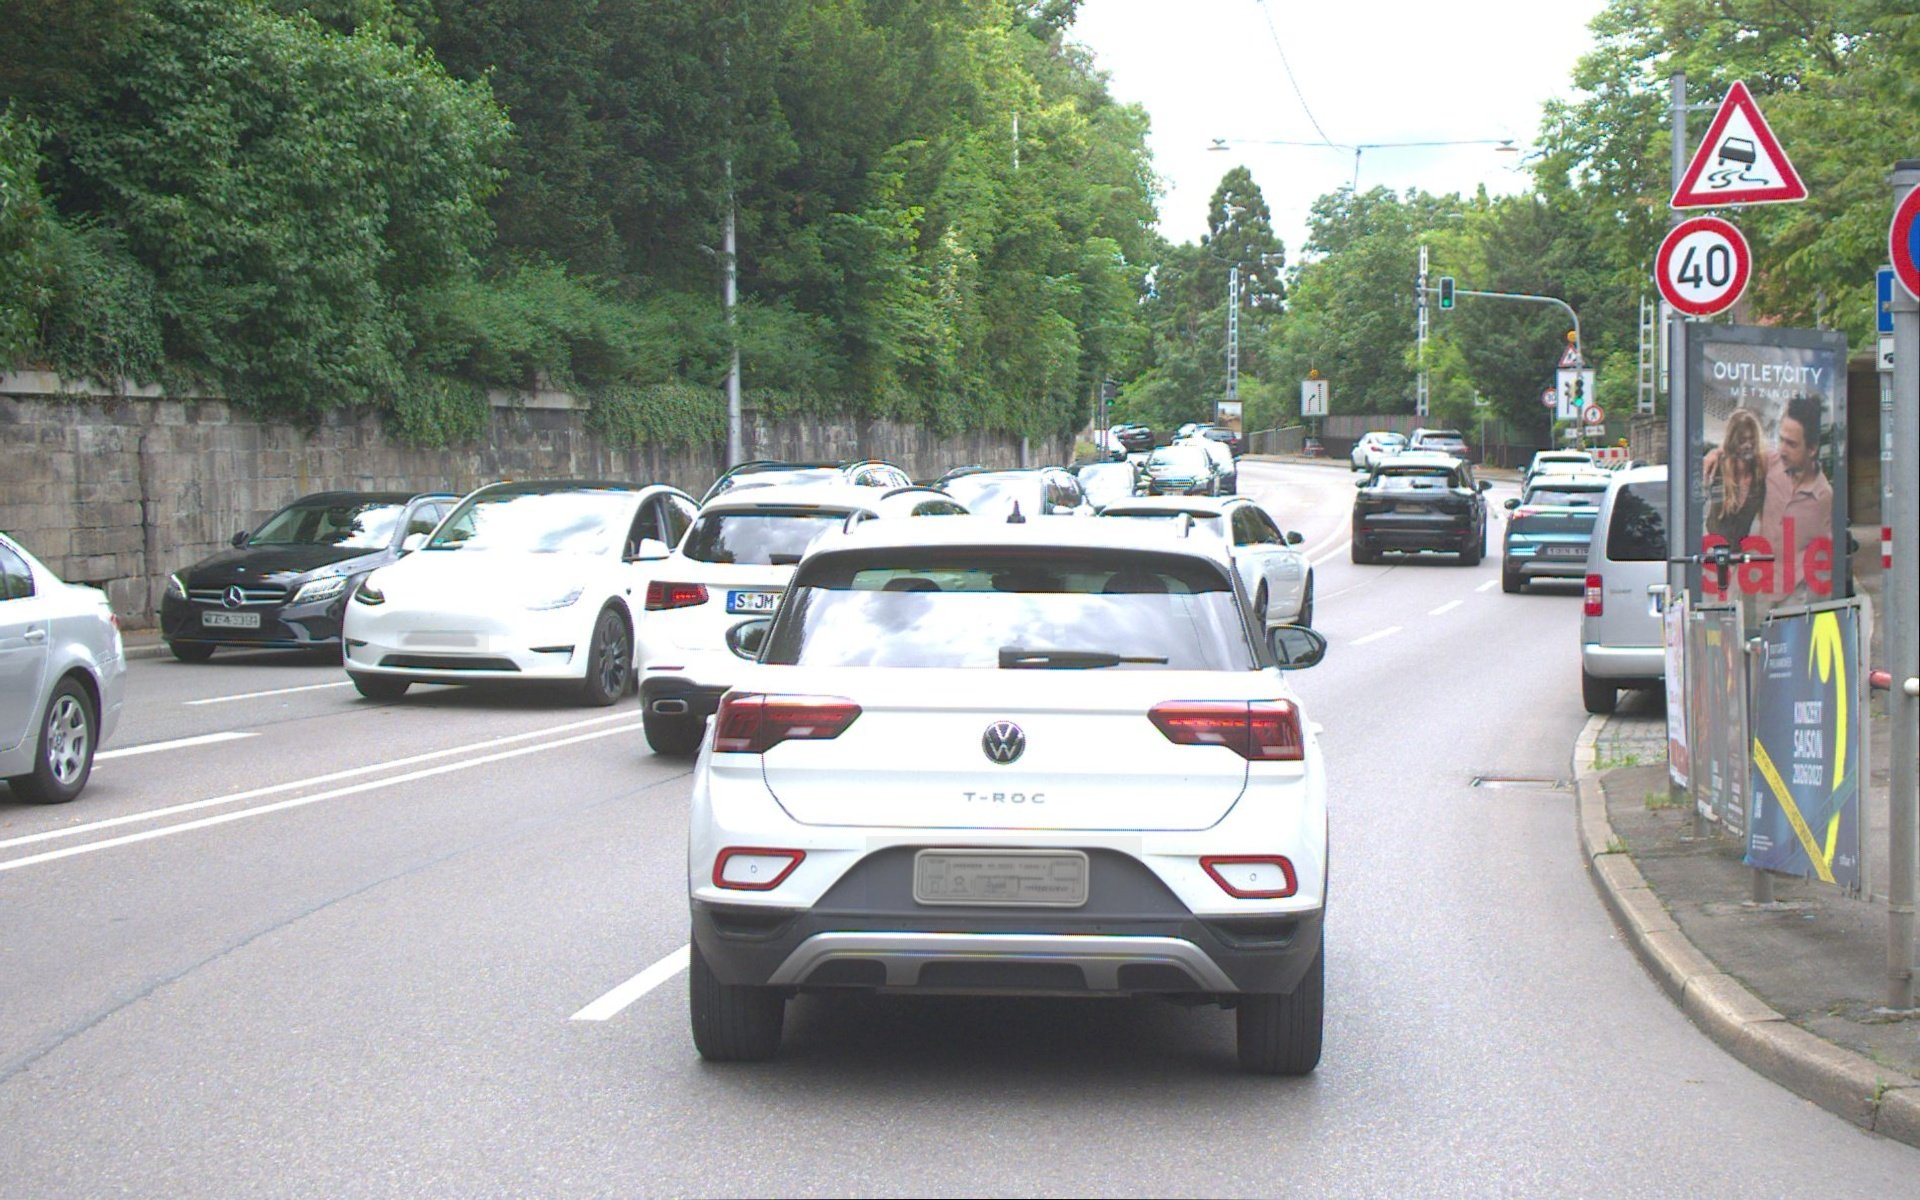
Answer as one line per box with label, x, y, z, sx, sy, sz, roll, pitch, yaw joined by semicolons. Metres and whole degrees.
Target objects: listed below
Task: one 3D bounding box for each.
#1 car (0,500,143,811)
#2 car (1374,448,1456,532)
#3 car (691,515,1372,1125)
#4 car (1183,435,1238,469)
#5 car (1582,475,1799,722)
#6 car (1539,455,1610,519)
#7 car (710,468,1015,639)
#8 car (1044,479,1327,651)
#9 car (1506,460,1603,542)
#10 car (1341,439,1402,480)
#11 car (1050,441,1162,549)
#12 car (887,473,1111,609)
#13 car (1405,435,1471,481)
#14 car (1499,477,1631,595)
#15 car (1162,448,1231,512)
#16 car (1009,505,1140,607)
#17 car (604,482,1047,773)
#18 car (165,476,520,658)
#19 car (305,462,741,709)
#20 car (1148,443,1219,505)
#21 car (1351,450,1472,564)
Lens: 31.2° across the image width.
car;-5.516;0.265;15.663;1.757;1.437;4.477;2;2;11
car;10.314;-2.491;78.034;1.634;1.813;4.000;-1;2;5
car;0.059;0.512;11.017;1.754;1.547;4.338;0;2;-3
car;10.941;-6.458;150.363;1.646;1.445;3.548;0;2;-9
car;5.506;-0.071;26.114;1.495;1.743;3.117;1;2;11
car;13.988;-2.591;78.397;1.500;1.322;3.854;2;3;9
car;-0.905;-0.514;34.974;1.895;1.561;4.477;3;2;14
car;2.299;-0.405;33.742;1.866;1.528;4.774;2;2;15
car;10.727;-1.808;62.126;1.629;1.335;3.854;2;3;9
car;14.944;-5.095;124.954;1.646;1.445;3.547;0;2;-2
car;2.841;-2.048;66.337;1.734;2.006;3.931;1;2;9
car;0.519;-0.743;40.664;1.818;1.435;4.060;2;3;13
car;15.535;-4.614;111.902;1.647;1.445;3.547;0;2;0
car;8.099;-0.894;46.152;1.629;1.414;3.854;2;3;9
car;6.493;-3.282;94.174;1.758;1.701;3.822;1;2;6
car;1.851;-0.701;54.467;1.650;1.512;3.850;2;1;8
car;-0.713;0.070;21.775;1.859;1.600;4.669;1;2;10
car;-5.434;-0.351;30.735;1.714;1.482;3.968;1;2;13
car;-3.185;-0.166;26.028;1.994;1.631;4.396;3;2;10
car;5.519;-3.119;84.675;1.647;1.445;3.546;0;3;5
car;7.114;-1.503;54.404;1.788;1.630;3.736;2;3;6
